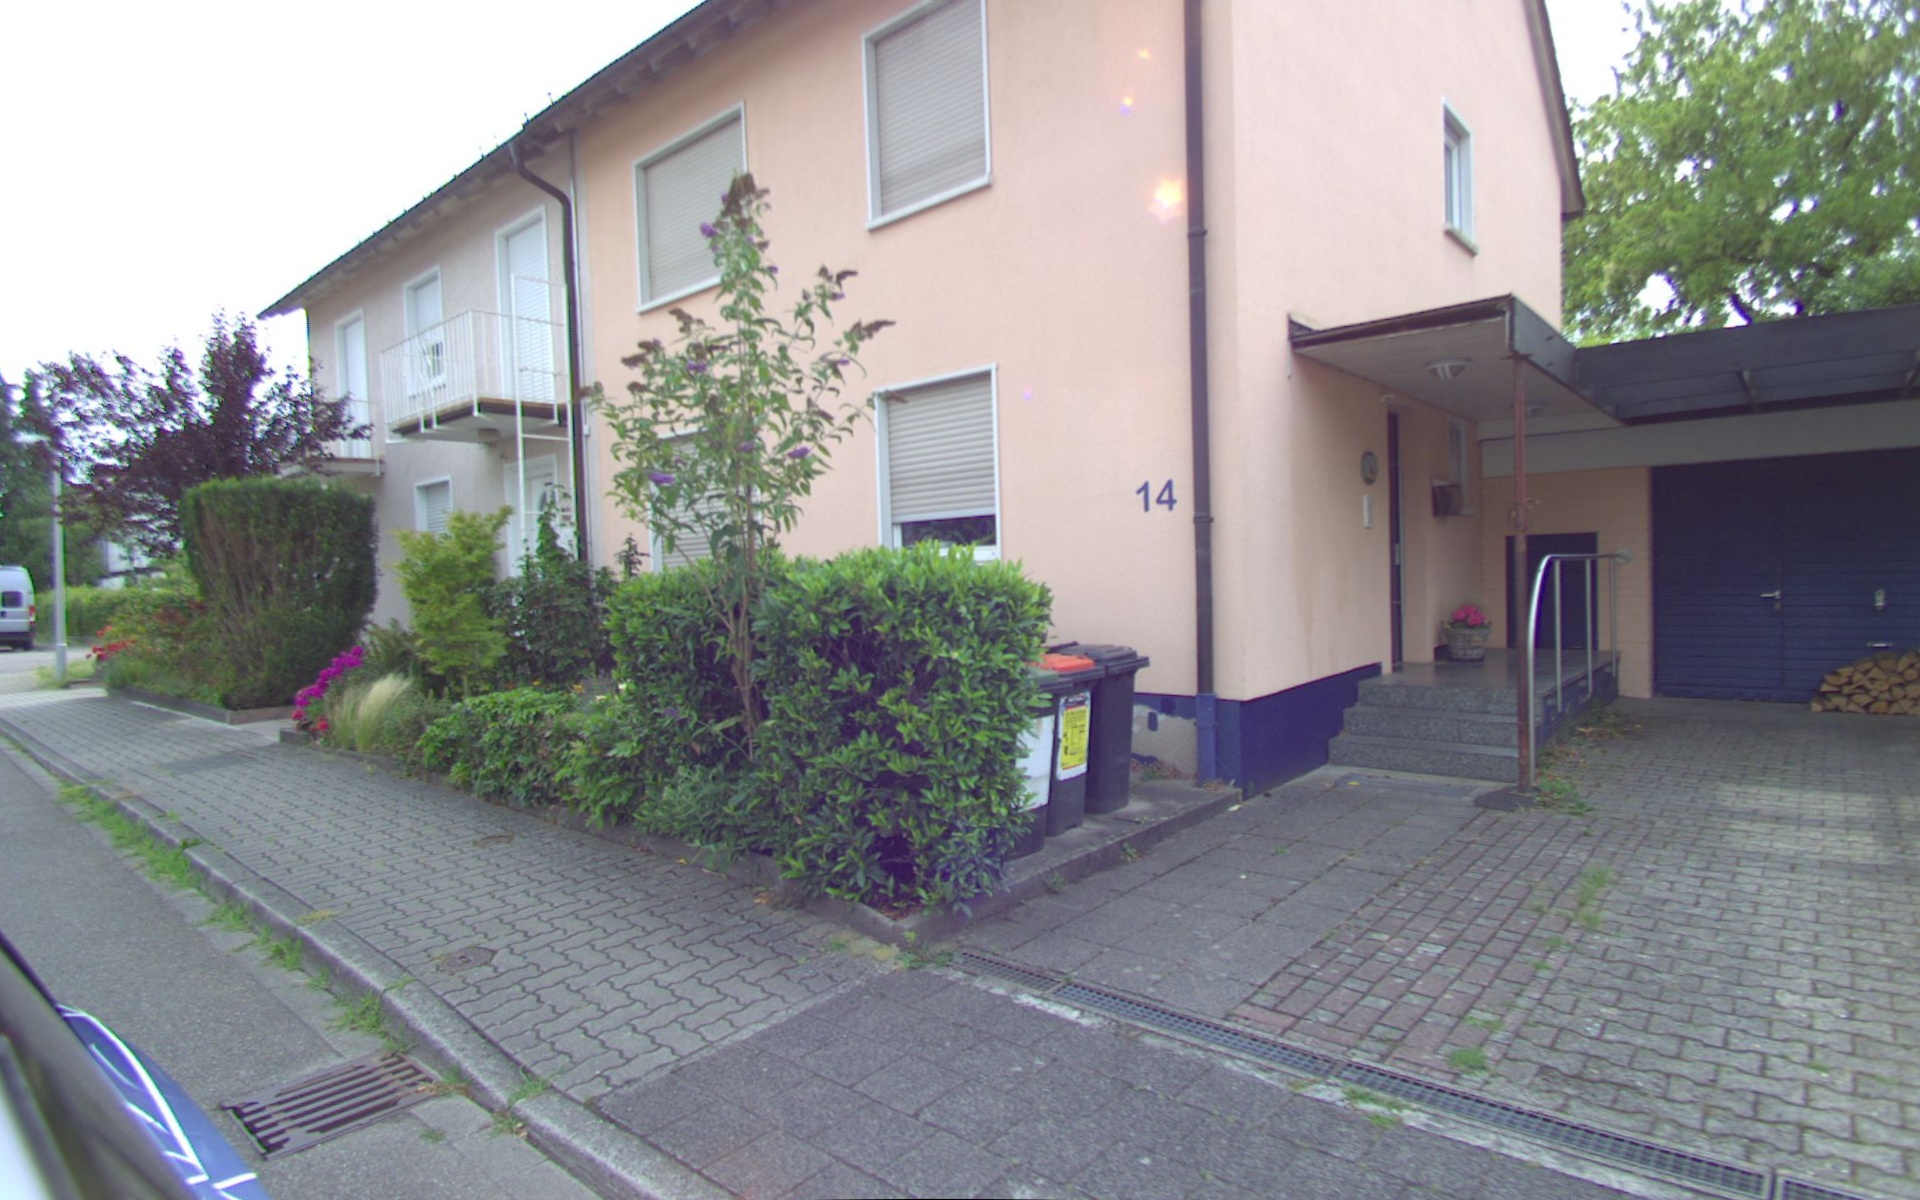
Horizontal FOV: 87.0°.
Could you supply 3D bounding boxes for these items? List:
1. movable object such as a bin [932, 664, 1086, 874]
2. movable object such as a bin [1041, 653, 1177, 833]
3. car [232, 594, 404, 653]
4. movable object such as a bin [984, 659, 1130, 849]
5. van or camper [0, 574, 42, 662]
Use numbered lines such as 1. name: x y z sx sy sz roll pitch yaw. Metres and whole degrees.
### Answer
1. movable object such as a bin: 0.236 0.777 4.883 0.530 0.888 0.490 -1 1 41
2. movable object such as a bin: 0.845 0.777 5.739 0.583 0.910 0.475 -1 1 41
3. car: -18.452 0.628 29.192 1.721 1.452 3.833 -1 2 41
4. movable object such as a bin: 0.516 0.778 5.349 0.534 0.886 0.532 -1 1 41
5. van or camper: -32.564 0.630 33.718 5.746 2.755 2.316 -1 2 42
